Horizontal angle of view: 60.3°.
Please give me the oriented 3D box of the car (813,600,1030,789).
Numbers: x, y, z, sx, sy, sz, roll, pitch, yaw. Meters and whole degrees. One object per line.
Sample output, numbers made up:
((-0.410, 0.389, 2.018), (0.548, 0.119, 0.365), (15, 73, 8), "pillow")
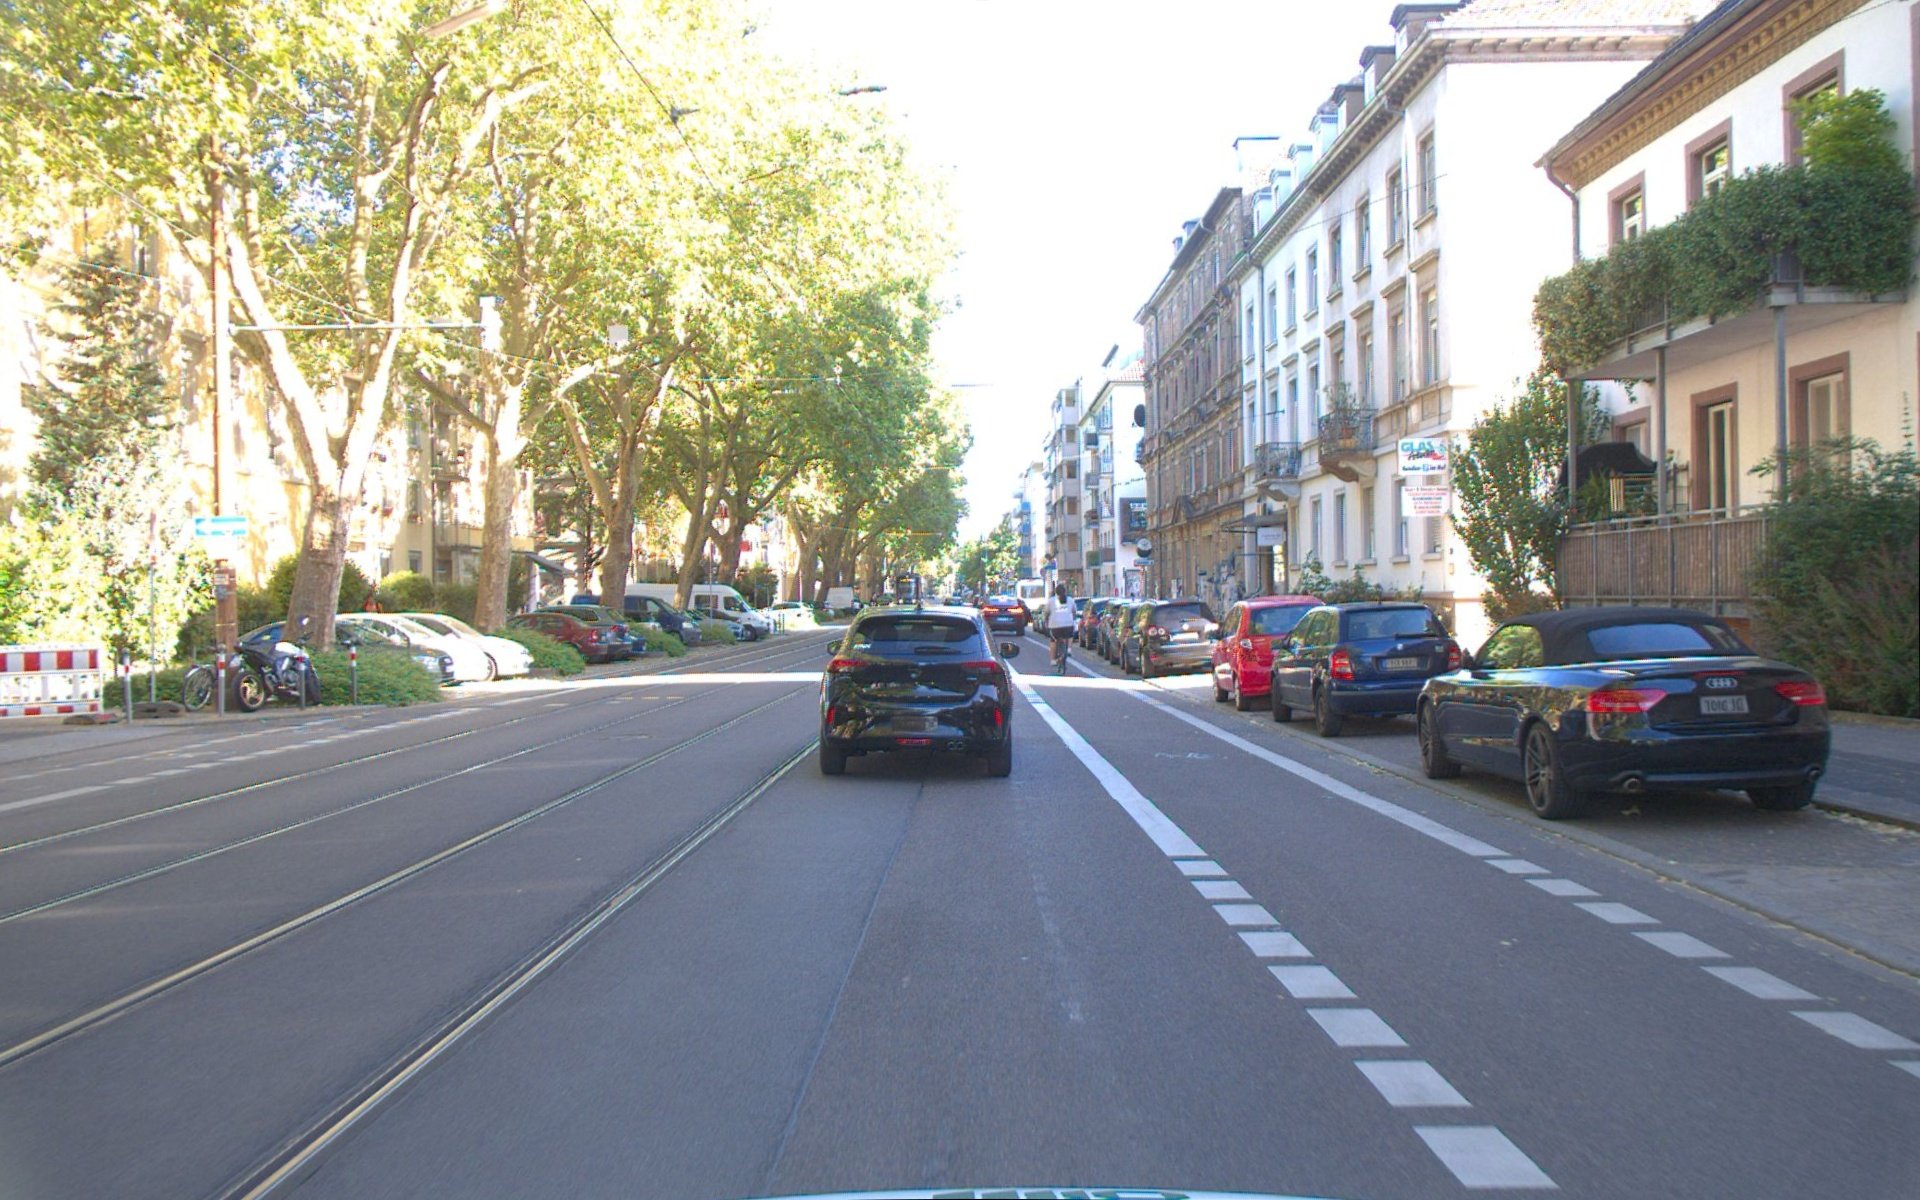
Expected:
((-0.325, 0.774, 15.338), (1.757, 1.466, 3.531), (-1, 1, 0), "car")

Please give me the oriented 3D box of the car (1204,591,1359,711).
((4.648, 0.693, 24.342), (1.601, 1.573, 3.576), (-2, 0, 1), "car")

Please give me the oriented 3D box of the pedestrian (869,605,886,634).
((-4.636, 1.116, 93.190), (0.666, 1.594, 0.768), (-1, 0, 28), "pedestrian")

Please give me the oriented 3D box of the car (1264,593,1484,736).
((4.847, 0.702, 19.868), (1.617, 1.481, 3.868), (-3, 0, 0), "car")

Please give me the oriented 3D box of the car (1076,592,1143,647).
((4.587, 0.572, 51.211), (1.676, 1.509, 3.764), (-5, 0, 1), "car")

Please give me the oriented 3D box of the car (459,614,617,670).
((-11.528, 1.139, 45.343), (3.839, 1.467, 1.749), (0, 0, 0), "car")

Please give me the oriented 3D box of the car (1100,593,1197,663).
((4.527, 0.654, 40.229), (1.763, 1.481, 3.767), (-5, 0, -1), "car")

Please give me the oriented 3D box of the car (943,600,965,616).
((-0.525, 0.679, 142.625), (1.772, 1.361, 3.933), (-1, 0, 1), "car")

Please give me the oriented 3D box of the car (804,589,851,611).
((-10.870, -0.006, 135.915), (3.841, 1.821, 1.676), (0, 0, -3), "car")

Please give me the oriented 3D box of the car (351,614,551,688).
((-11.264, 1.116, 36.764), (3.839, 1.488, 1.805), (-2, 0, 0), "car")

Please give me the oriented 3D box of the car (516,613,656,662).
((-11.260, 1.131, 49.960), (3.841, 1.446, 1.818), (0, 0, -2), "car")

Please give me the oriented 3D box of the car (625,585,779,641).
((-11.555, 0.581, 74.484), (6.492, 2.451, 2.458), (0, 0, 0), "car")

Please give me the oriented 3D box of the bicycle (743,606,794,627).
((-11.456, 1.009, 99.055), (2.880, 1.190, 0.991), (-1, 0, 17), "bicycle")

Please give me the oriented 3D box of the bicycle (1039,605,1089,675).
((2.240, 0.834, 35.833), (0.843, 1.431, 2.523), (-1, 0, -1), "bicycle")

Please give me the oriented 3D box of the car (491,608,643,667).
((-11.250, 1.056, 47.556), (3.913, 1.655, 1.879), (0, 0, 0), "car")

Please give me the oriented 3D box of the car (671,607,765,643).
((-10.534, 1.084, 72.103), (3.840, 1.524, 1.677), (0, 0, -1), "car")

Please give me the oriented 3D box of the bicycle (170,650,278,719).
((-11.333, 1.284, 25.541), (0.529, 0.957, 2.035), (-1, 0, 8), "bicycle")

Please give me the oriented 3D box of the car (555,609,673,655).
((-11.781, 1.091, 56.456), (3.658, 1.524, 1.746), (0, 0, 0), "car")

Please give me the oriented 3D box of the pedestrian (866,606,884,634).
((-4.755, 1.118, 92.375), (0.666, 1.594, 0.768), (-1, 0, 28), "pedestrian")

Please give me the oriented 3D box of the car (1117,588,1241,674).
((4.653, 0.644, 35.687), (1.843, 1.613, 3.930), (-5, 0, -3), "car")

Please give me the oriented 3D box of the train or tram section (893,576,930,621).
((-4.314, -0.124, 149.712), (2.678, 3.746, 12.717), (-2, 0, 1), "train or tram section")

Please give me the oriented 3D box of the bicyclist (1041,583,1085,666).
((2.234, 0.519, 35.886), (0.831, 1.770, 1.161), (-1, 0, -1), "bicyclist")

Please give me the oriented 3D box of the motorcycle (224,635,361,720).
((-10.259, 1.166, 25.533), (0.865, 1.167, 2.392), (-1, 0, 8), "motorcycle")

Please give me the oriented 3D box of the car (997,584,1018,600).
((4.383, -0.737, 152.861), (1.773, 1.361, 3.933), (-5, 0, 1), "car")

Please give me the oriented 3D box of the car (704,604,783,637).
((-10.914, 1.030, 83.514), (3.841, 1.605, 1.676), (0, 0, -3), "car")

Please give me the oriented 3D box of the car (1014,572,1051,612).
((4.461, -0.486, 102.396), (2.033, 2.257, 4.934), (-5, 0, 1), "car")

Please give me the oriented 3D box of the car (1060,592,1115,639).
((4.585, 0.552, 59.745), (1.536, 1.543, 3.039), (-5, 0, -2), "car")

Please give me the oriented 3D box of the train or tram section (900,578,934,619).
((-4.142, -0.137, 162.341), (2.678, 3.746, 12.717), (-2, 0, 1), "train or tram section")

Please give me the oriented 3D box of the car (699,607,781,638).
((-10.760, 1.093, 81.117), (3.841, 1.524, 1.676), (0, 0, -3), "car")

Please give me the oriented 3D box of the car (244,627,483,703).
((-11.245, 1.211, 31.377), (3.839, 1.355, 1.847), (0, 0, 0), "car")

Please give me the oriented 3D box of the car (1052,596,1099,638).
((4.500, 0.639, 64.797), (1.669, 1.481, 3.698), (-5, 0, 3), "car")

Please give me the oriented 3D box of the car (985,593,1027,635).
((2.030, 0.596, 73.385), (1.772, 1.772, 3.933), (-2, 0, 1), "car")

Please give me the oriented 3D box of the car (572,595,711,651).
((-11.401, 0.820, 59.386), (4.578, 1.957, 1.980), (0, 0, 1), "car")

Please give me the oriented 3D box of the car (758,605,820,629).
((-10.893, 1.097, 105.464), (3.841, 1.524, 1.676), (0, 0, -3), "car")

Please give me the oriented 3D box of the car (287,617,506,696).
((-11.492, 1.140, 33.897), (3.841, 1.478, 1.800), (-1, 0, -1), "car")

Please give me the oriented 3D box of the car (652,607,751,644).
((-10.725, 1.041, 68.780), (3.839, 1.524, 1.677), (0, 0, 1), "car")

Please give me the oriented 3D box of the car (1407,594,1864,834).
((4.828, 0.713, 12.582), (1.659, 1.417, 4.495), (-3, 0, 1), "car")

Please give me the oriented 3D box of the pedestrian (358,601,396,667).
((-16.970, 0.989, 48.177), (0.848, 1.882, 0.836), (-1, 0, -7), "pedestrian")

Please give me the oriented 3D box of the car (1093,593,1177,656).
((4.712, 0.637, 45.082), (1.842, 1.481, 4.026), (-5, 0, 1), "car")
